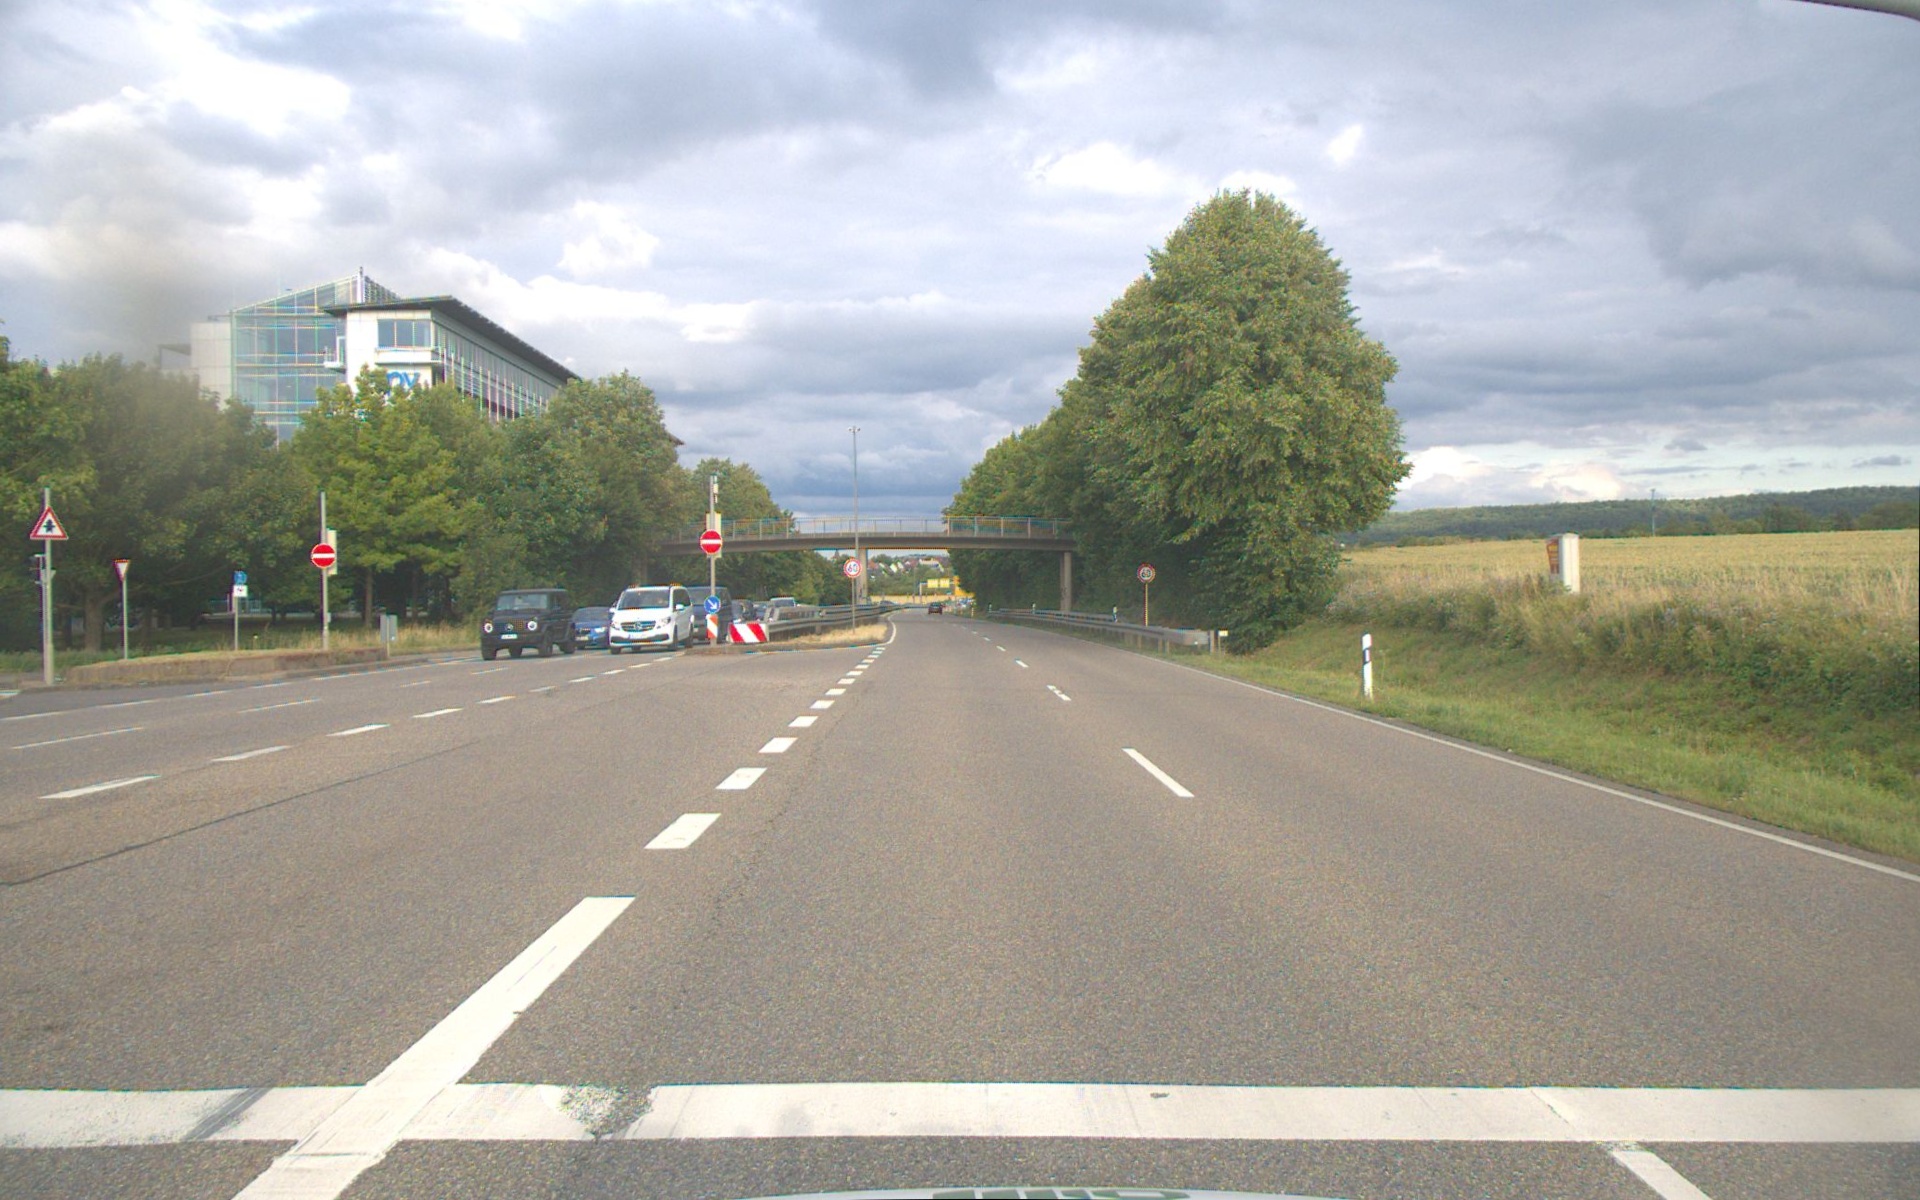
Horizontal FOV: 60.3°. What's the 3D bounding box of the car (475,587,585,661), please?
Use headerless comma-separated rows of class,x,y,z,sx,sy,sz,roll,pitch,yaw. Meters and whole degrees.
car,-12.662,0.684,49.027,2.041,2.049,5.214,1,0,-2

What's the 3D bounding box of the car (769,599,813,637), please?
car,-9.418,0.979,92.272,2.041,2.049,5.214,1,0,-2

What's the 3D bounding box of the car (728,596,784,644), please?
car,-9.245,0.894,75.469,2.041,2.049,5.214,1,0,-2

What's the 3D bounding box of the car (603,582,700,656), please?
car,-9.102,0.546,49.193,2.041,2.049,5.214,1,0,-2

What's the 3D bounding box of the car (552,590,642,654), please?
car,-12.325,0.730,56.533,2.041,2.049,5.214,1,0,-2

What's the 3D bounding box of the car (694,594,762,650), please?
car,-8.998,0.842,64.494,2.041,2.049,5.214,1,0,-2

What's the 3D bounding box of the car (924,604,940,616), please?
car,-3.547,1.271,210.097,1.842,1.579,3.997,1,0,-4

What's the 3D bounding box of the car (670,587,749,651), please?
car,-8.561,0.641,56.937,2.041,2.049,5.214,1,0,-2
